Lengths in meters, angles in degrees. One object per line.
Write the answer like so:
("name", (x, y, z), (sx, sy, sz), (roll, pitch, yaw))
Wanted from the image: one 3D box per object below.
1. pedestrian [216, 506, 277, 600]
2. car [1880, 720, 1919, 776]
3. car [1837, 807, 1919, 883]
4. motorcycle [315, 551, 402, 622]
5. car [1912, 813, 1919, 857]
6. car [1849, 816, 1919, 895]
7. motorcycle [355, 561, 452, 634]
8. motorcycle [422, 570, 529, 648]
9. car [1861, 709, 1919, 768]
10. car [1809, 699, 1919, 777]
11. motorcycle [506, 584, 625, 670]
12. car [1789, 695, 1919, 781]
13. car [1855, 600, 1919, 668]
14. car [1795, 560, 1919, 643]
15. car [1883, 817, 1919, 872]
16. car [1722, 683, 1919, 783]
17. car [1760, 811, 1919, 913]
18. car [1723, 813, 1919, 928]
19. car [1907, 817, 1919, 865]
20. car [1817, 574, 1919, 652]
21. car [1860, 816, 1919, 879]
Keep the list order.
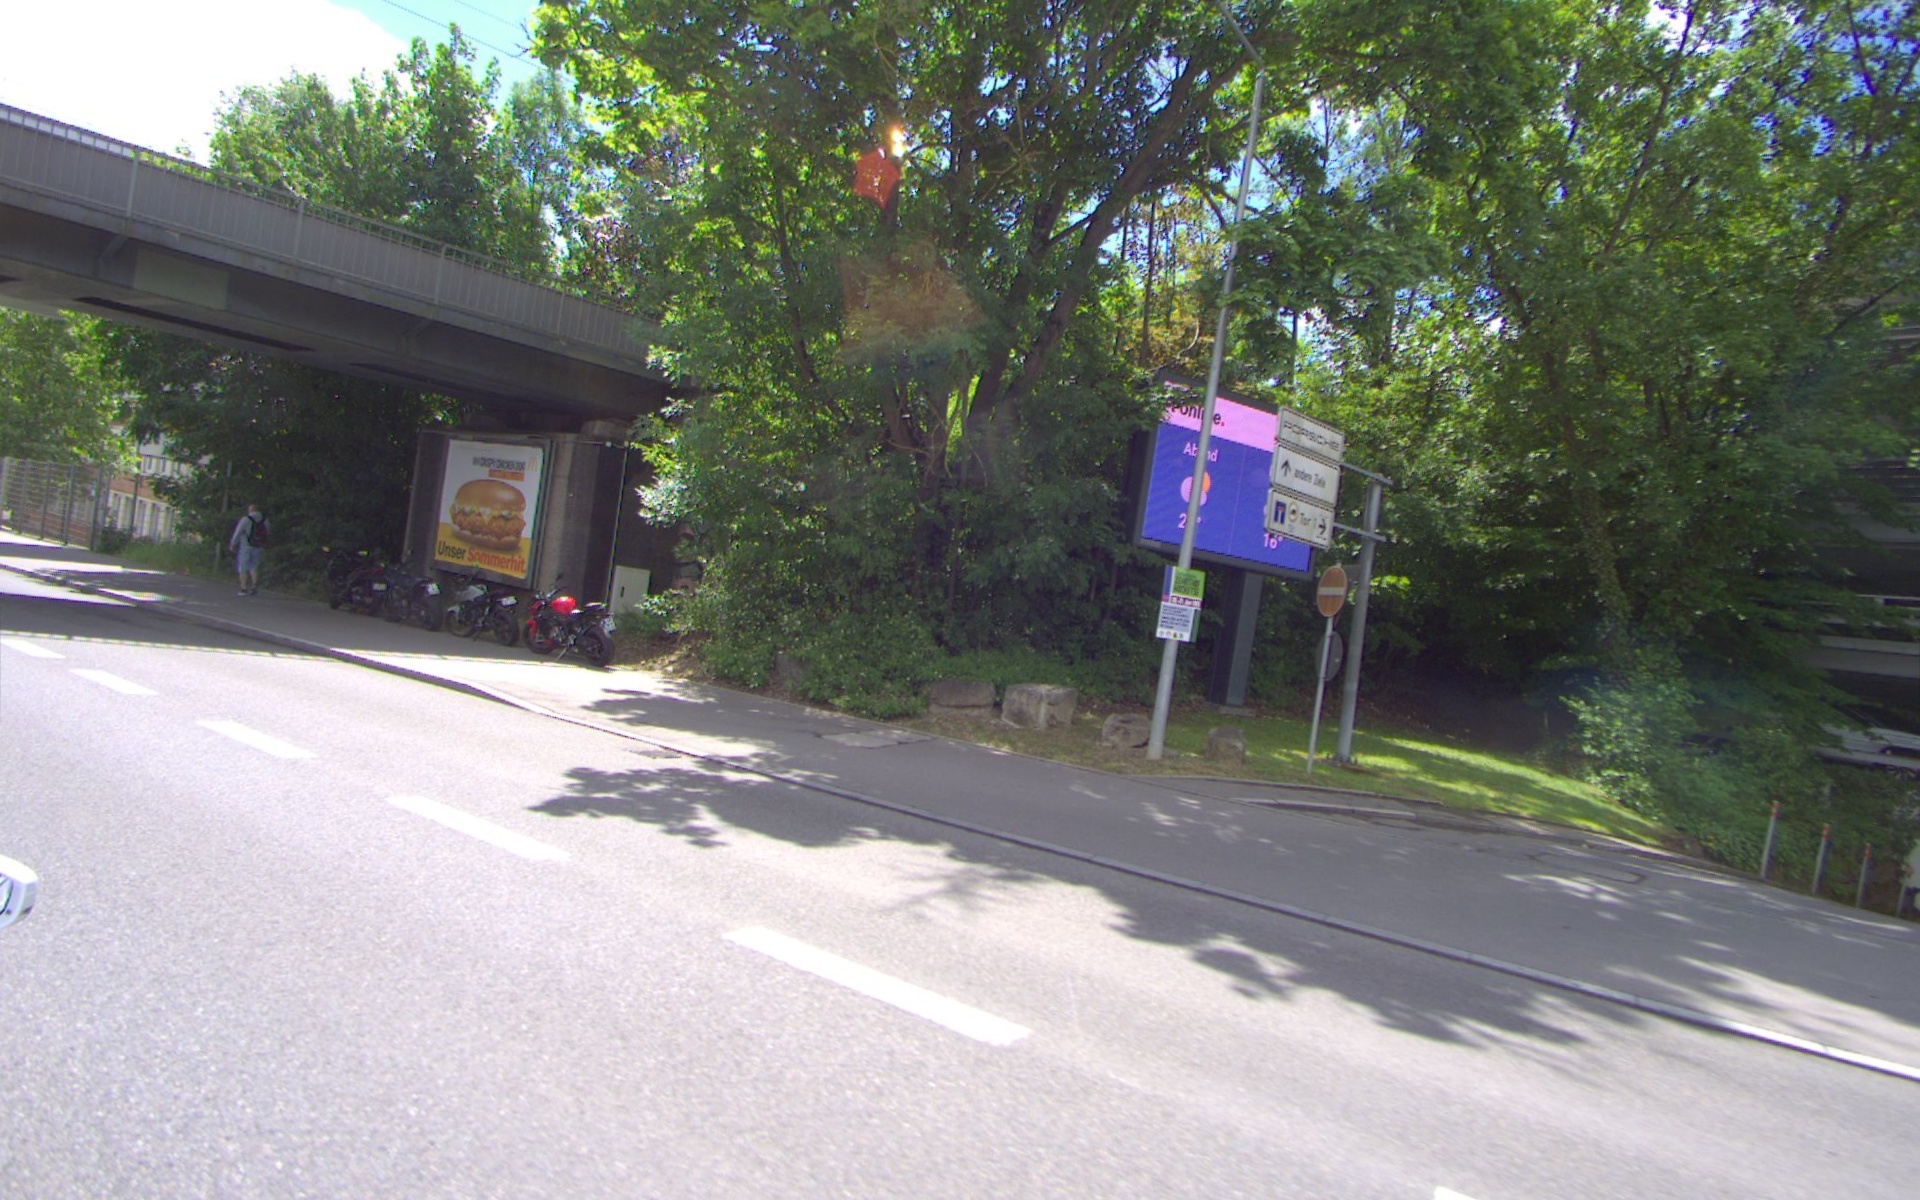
("pedestrian", (-15.144, -0.989, 21.366), (0.858, 1.881, 0.623), (6, 0, 32))
("car", (30.259, 4.679, 30.183), (1.743, 1.559, 3.586), (8, -1, -37))
("car", (26.447, 6.844, 27.313), (1.743, 1.658, 3.586), (8, -1, -37))
("motorcycle", (-11.879, -0.275, 19.862), (1.871, 1.213, 0.548), (6, 0, 30))
("car", (35.059, 8.371, 34.015), (1.743, 1.458, 3.849), (8, -1, -37))
("car", (25.110, 6.702, 25.436), (1.743, 1.658, 3.586), (8, -1, -37))
("motorcycle", (-10.263, -0.058, 18.524), (1.984, 1.124, 0.548), (6, 0, 30))
("motorcycle", (-8.328, 0.143, 17.245), (1.984, 1.124, 0.548), (6, 0, 30))
("car", (26.968, 3.952, 27.172), (1.620, 1.448, 3.586), (8, -1, -37))
("car", (23.307, 3.540, 24.362), (1.763, 1.490, 3.758), (9, 0, -37))
("motorcycle", (-6.249, 0.411, 15.909), (1.984, 1.124, 0.548), (6, 0, 30))
("car", (21.608, 3.306, 22.922), (1.763, 1.490, 3.758), (9, 0, -37))
("car", (25.317, 0.970, 25.496), (1.620, 1.542, 3.586), (8, -1, -37))
("car", (20.231, 0.073, 21.266), (1.620, 1.542, 3.586), (8, -1, -37))
("car", (29.881, 7.537, 29.684), (1.561, 1.430, 3.586), (8, -1, -37))
("car", (19.432, 2.954, 21.886), (1.763, 1.490, 4.096), (9, 0, -37))
("car", (21.068, 6.082, 23.097), (1.763, 1.490, 3.758), (9, 0, -37))
("car", (19.215, 5.842, 21.866), (1.683, 1.450, 3.758), (9, 0, -37))
("car", (32.295, 7.931, 31.486), (1.561, 1.430, 3.586), (8, -1, -37))
("car", (21.838, 0.356, 22.601), (1.620, 1.542, 3.586), (8, -1, -37))
("car", (28.146, 7.267, 28.498), (1.743, 1.460, 3.586), (8, -1, -37))
